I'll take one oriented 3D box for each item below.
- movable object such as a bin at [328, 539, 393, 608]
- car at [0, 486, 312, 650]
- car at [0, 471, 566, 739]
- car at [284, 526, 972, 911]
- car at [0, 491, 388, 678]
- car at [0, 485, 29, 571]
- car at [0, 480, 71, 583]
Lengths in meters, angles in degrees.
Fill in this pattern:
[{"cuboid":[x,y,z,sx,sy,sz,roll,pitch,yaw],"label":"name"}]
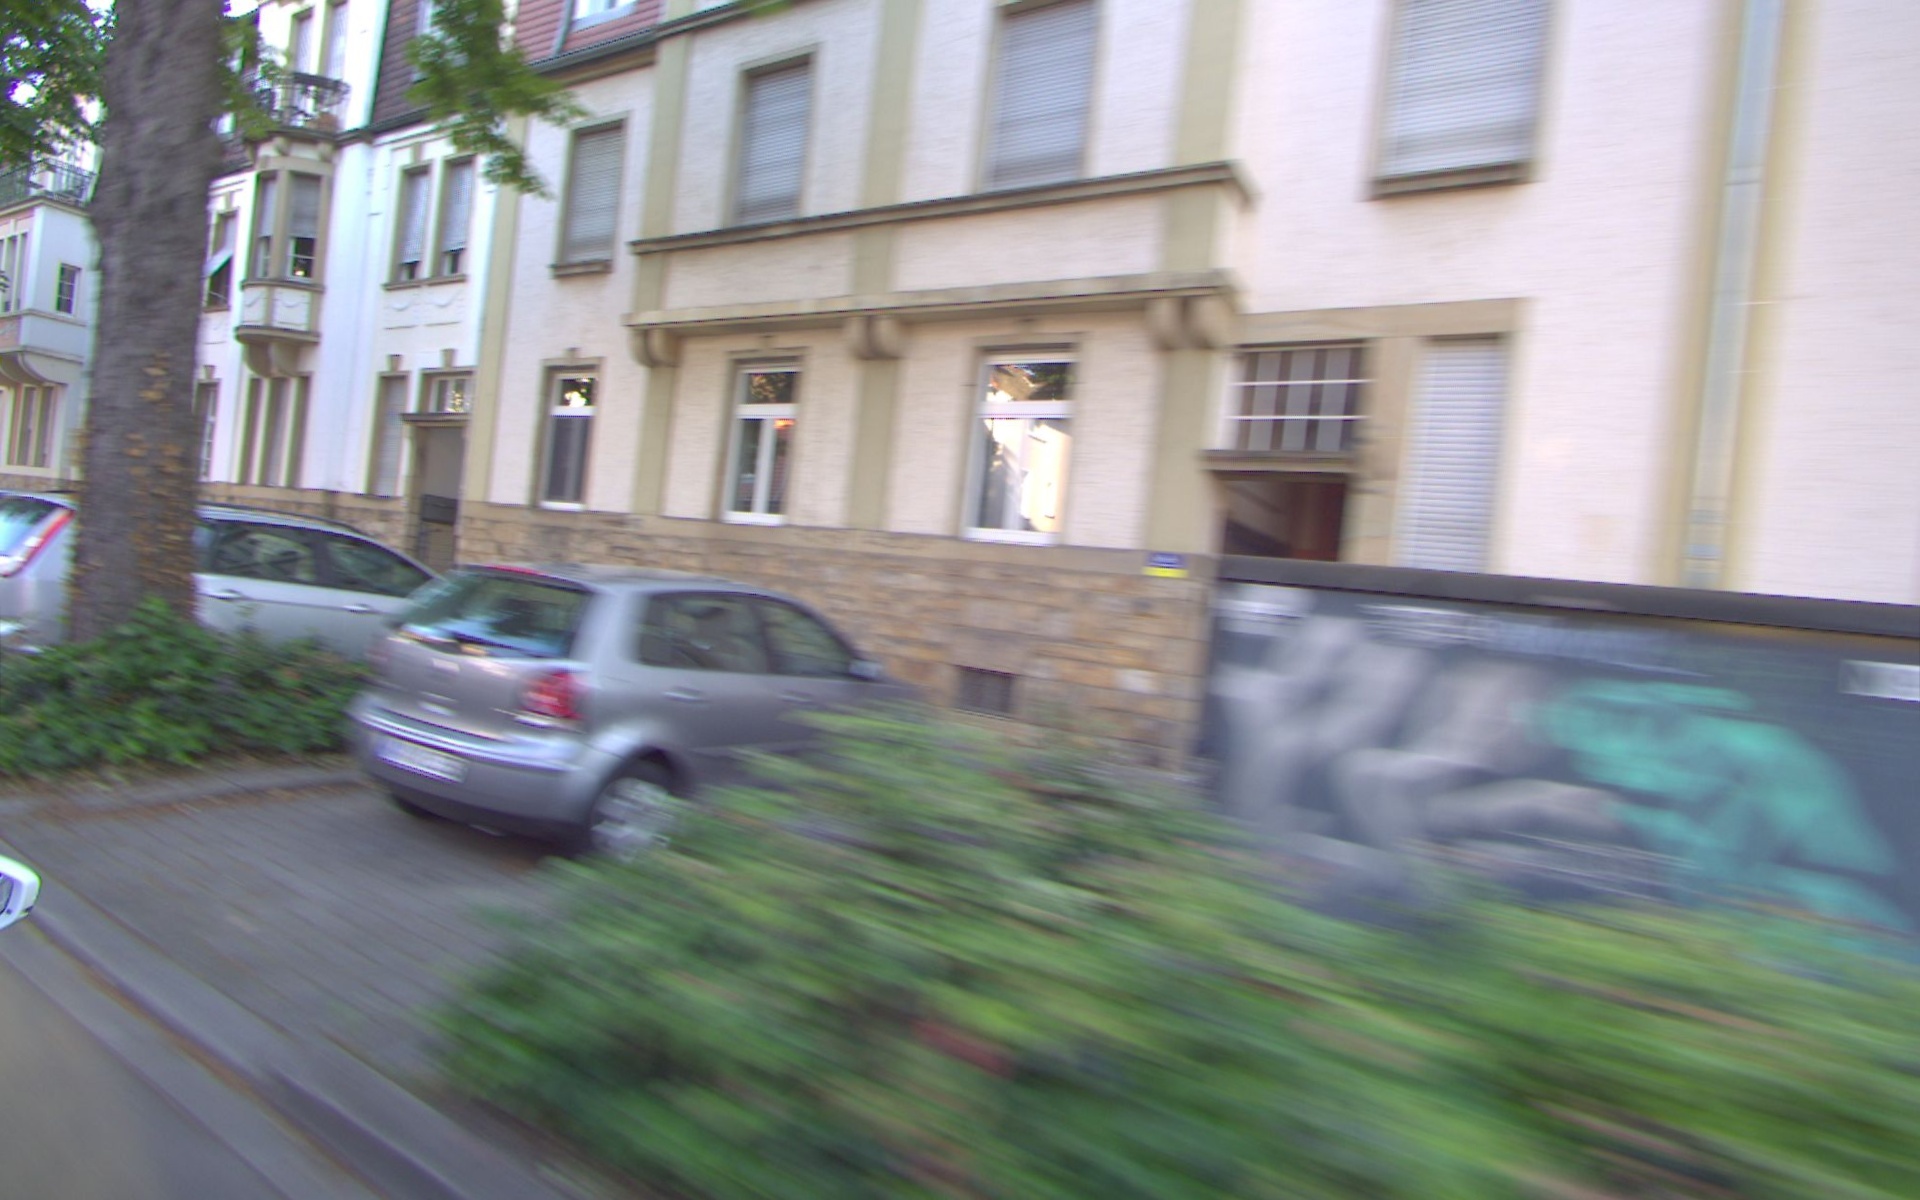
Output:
[{"cuboid":[-9.814,-0.424,16.470,0.532,1.064,0.700,7,4,31],"label":"movable object such as a bin"},{"cuboid":[-9.655,-0.369,11.126,1.535,1.501,3.797,7,-1,33],"label":"car"},{"cuboid":[-5.545,0.096,8.216,1.682,1.596,4.157,7,-1,26],"label":"car"},{"cuboid":[-1.606,0.551,6.181,1.718,1.456,3.800,7,0,27],"label":"car"},{"cuboid":[-7.816,-0.136,9.425,1.787,1.455,3.799,7,-1,31],"label":"car"},{"cuboid":[-18.034,-1.404,15.990,1.847,1.437,4.411,7,1,34],"label":"car"},{"cuboid":[-15.911,-1.200,14.578,1.822,1.494,4.190,7,1,34],"label":"car"}]
